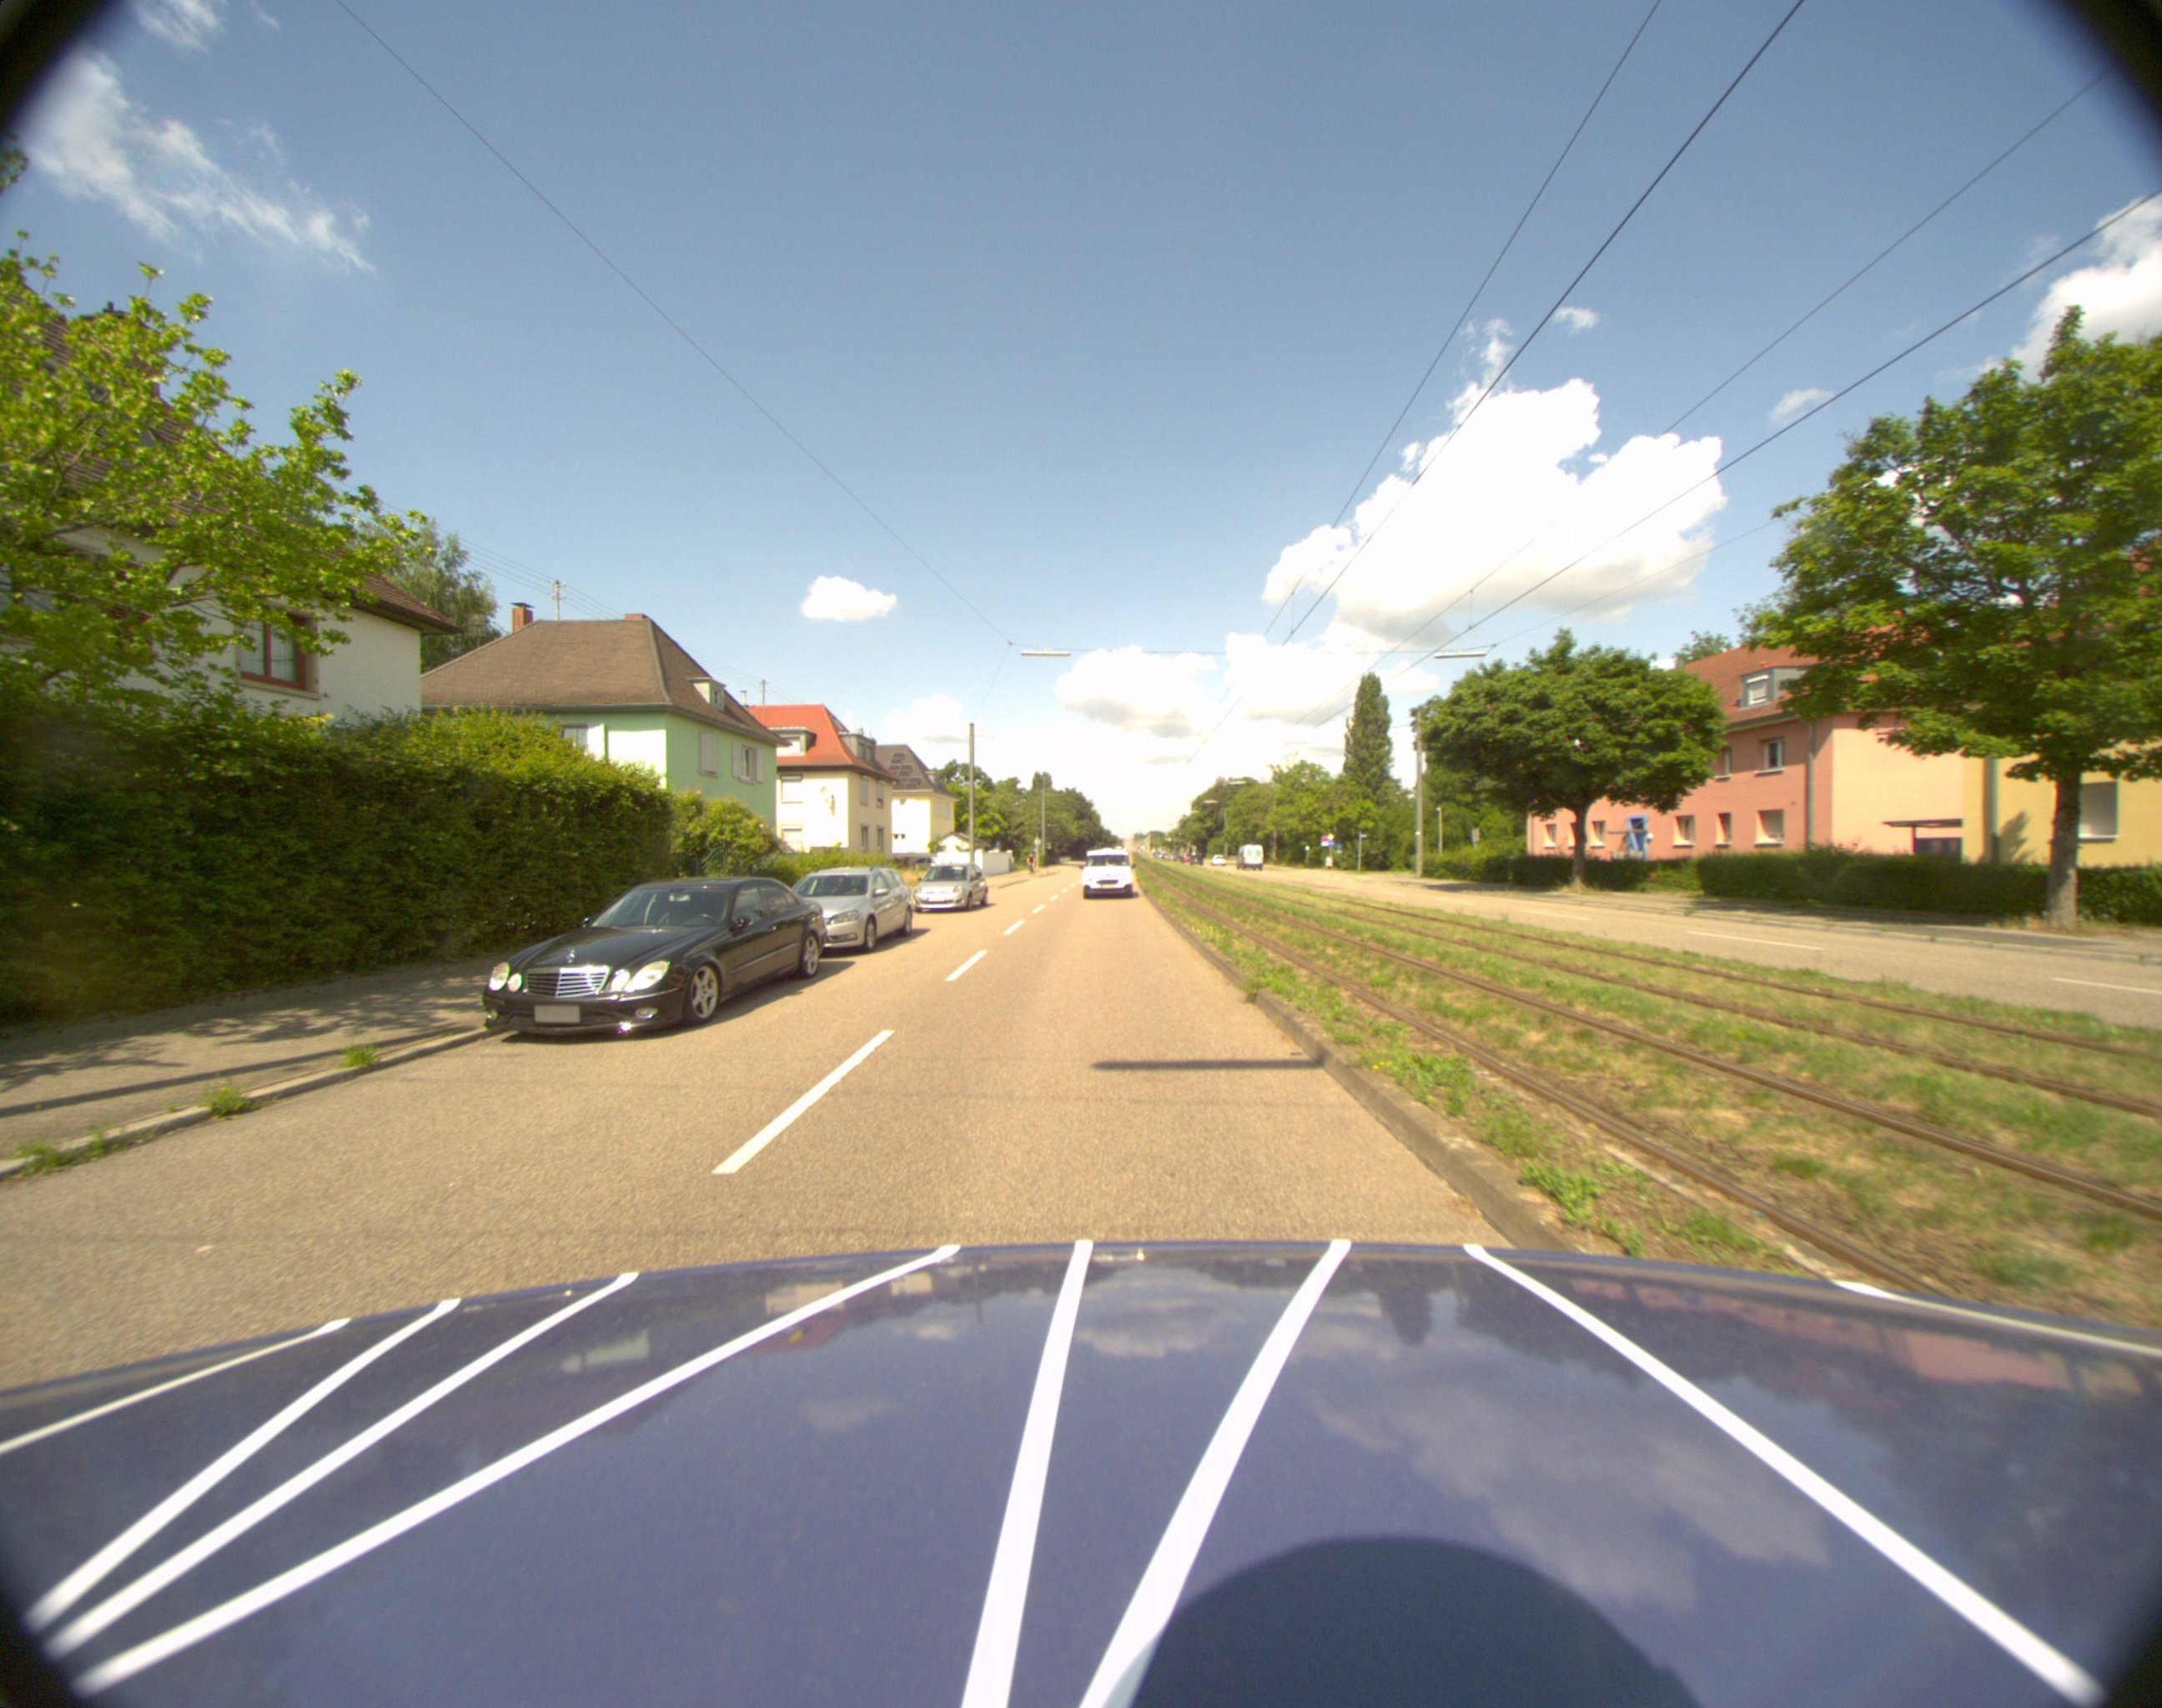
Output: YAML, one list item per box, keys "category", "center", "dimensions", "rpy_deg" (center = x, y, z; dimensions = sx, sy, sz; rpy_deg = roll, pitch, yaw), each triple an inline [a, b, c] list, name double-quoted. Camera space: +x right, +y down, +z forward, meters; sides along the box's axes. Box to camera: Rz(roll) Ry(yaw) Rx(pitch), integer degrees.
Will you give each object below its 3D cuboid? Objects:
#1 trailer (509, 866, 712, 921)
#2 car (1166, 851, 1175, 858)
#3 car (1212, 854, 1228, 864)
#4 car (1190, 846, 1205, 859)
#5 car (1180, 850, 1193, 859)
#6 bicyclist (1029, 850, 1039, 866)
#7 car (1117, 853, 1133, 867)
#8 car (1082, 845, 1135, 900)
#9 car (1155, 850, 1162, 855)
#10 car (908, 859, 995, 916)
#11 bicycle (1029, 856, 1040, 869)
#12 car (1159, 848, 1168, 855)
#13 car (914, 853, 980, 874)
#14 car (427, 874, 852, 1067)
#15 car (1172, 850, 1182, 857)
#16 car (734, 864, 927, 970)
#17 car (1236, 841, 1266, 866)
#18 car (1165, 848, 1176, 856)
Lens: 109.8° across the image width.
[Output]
- category: "trailer"
  center: [-12.125, 0.992, 19.734]
  dimensions: [4.256, 1.319, 1.674]
  rpy_deg: [0, 0, 3]
- category: "car"
  center: [21.212, 0.014, 180.079]
  dimensions: [1.921, 1.642, 4.278]
  rpy_deg: [0, 0, 4]
- category: "car"
  center: [19.545, 0.710, 107.018]
  dimensions: [1.689, 1.422, 4.277]
  rpy_deg: [0, 0, 3]
- category: "car"
  center: [16.568, -0.251, 107.757]
  dimensions: [1.689, 1.736, 4.228]
  rpy_deg: [0, 0, 3]
- category: "car"
  center: [17.974, 0.047, 129.185]
  dimensions: [1.731, 1.570, 4.277]
  rpy_deg: [0, 0, 2]
- category: "bicyclist"
  center: [-3.983, 0.349, 64.542]
  dimensions: [0.690, 1.345, 0.665]
  rpy_deg: [0, 1, 9]
- category: "car"
  center: [5.735, 0.762, 98.646]
  dimensions: [1.998, 1.576, 4.000]
  rpy_deg: [-2, 1, 3]
- category: "car"
  center: [1.011, 0.639, 28.744]
  dimensions: [1.777, 1.850, 4.375]
  rpy_deg: [-2, 0, 1]
- category: "car"
  center: [25.265, -0.507, 246.855]
  dimensions: [2.120, 1.642, 4.278]
  rpy_deg: [0, 0, 4]
- category: "car"
  center: [-3.918, 0.962, 23.704]
  dimensions: [1.741, 1.481, 4.094]
  rpy_deg: [-2, 1, 4]
- category: "bicycle"
  center: [-3.949, 0.728, 64.605]
  dimensions: [0.556, 1.059, 1.524]
  rpy_deg: [0, 1, 10]
- category: "car"
  center: [21.383, -0.619, 196.662]
  dimensions: [2.120, 1.642, 4.278]
  rpy_deg: [0, 0, 4]
- category: "car"
  center: [-9.911, 0.694, 56.413]
  dimensions: [4.459, 1.452, 1.764]
  rpy_deg: [1, 1, 4]
- category: "car"
  center: [-4.489, 1.054, 8.941]
  dimensions: [1.904, 1.435, 5.058]
  rpy_deg: [-2, 0, 1]
- category: "car"
  center: [18.566, -0.115, 146.852]
  dimensions: [1.731, 1.386, 4.278]
  rpy_deg: [0, 0, 4]
- category: "car"
  center: [-4.421, 1.020, 14.378]
  dimensions: [1.895, 1.447, 5.005]
  rpy_deg: [-2, 1, 1]
- category: "car"
  center: [17.498, -0.105, 78.279]
  dimensions: [2.037, 2.422, 5.778]
  rpy_deg: [1, 0, 3]
- category: "car"
  center: [19.491, -0.395, 165.045]
  dimensions: [2.120, 1.642, 4.278]
  rpy_deg: [0, 0, 4]
